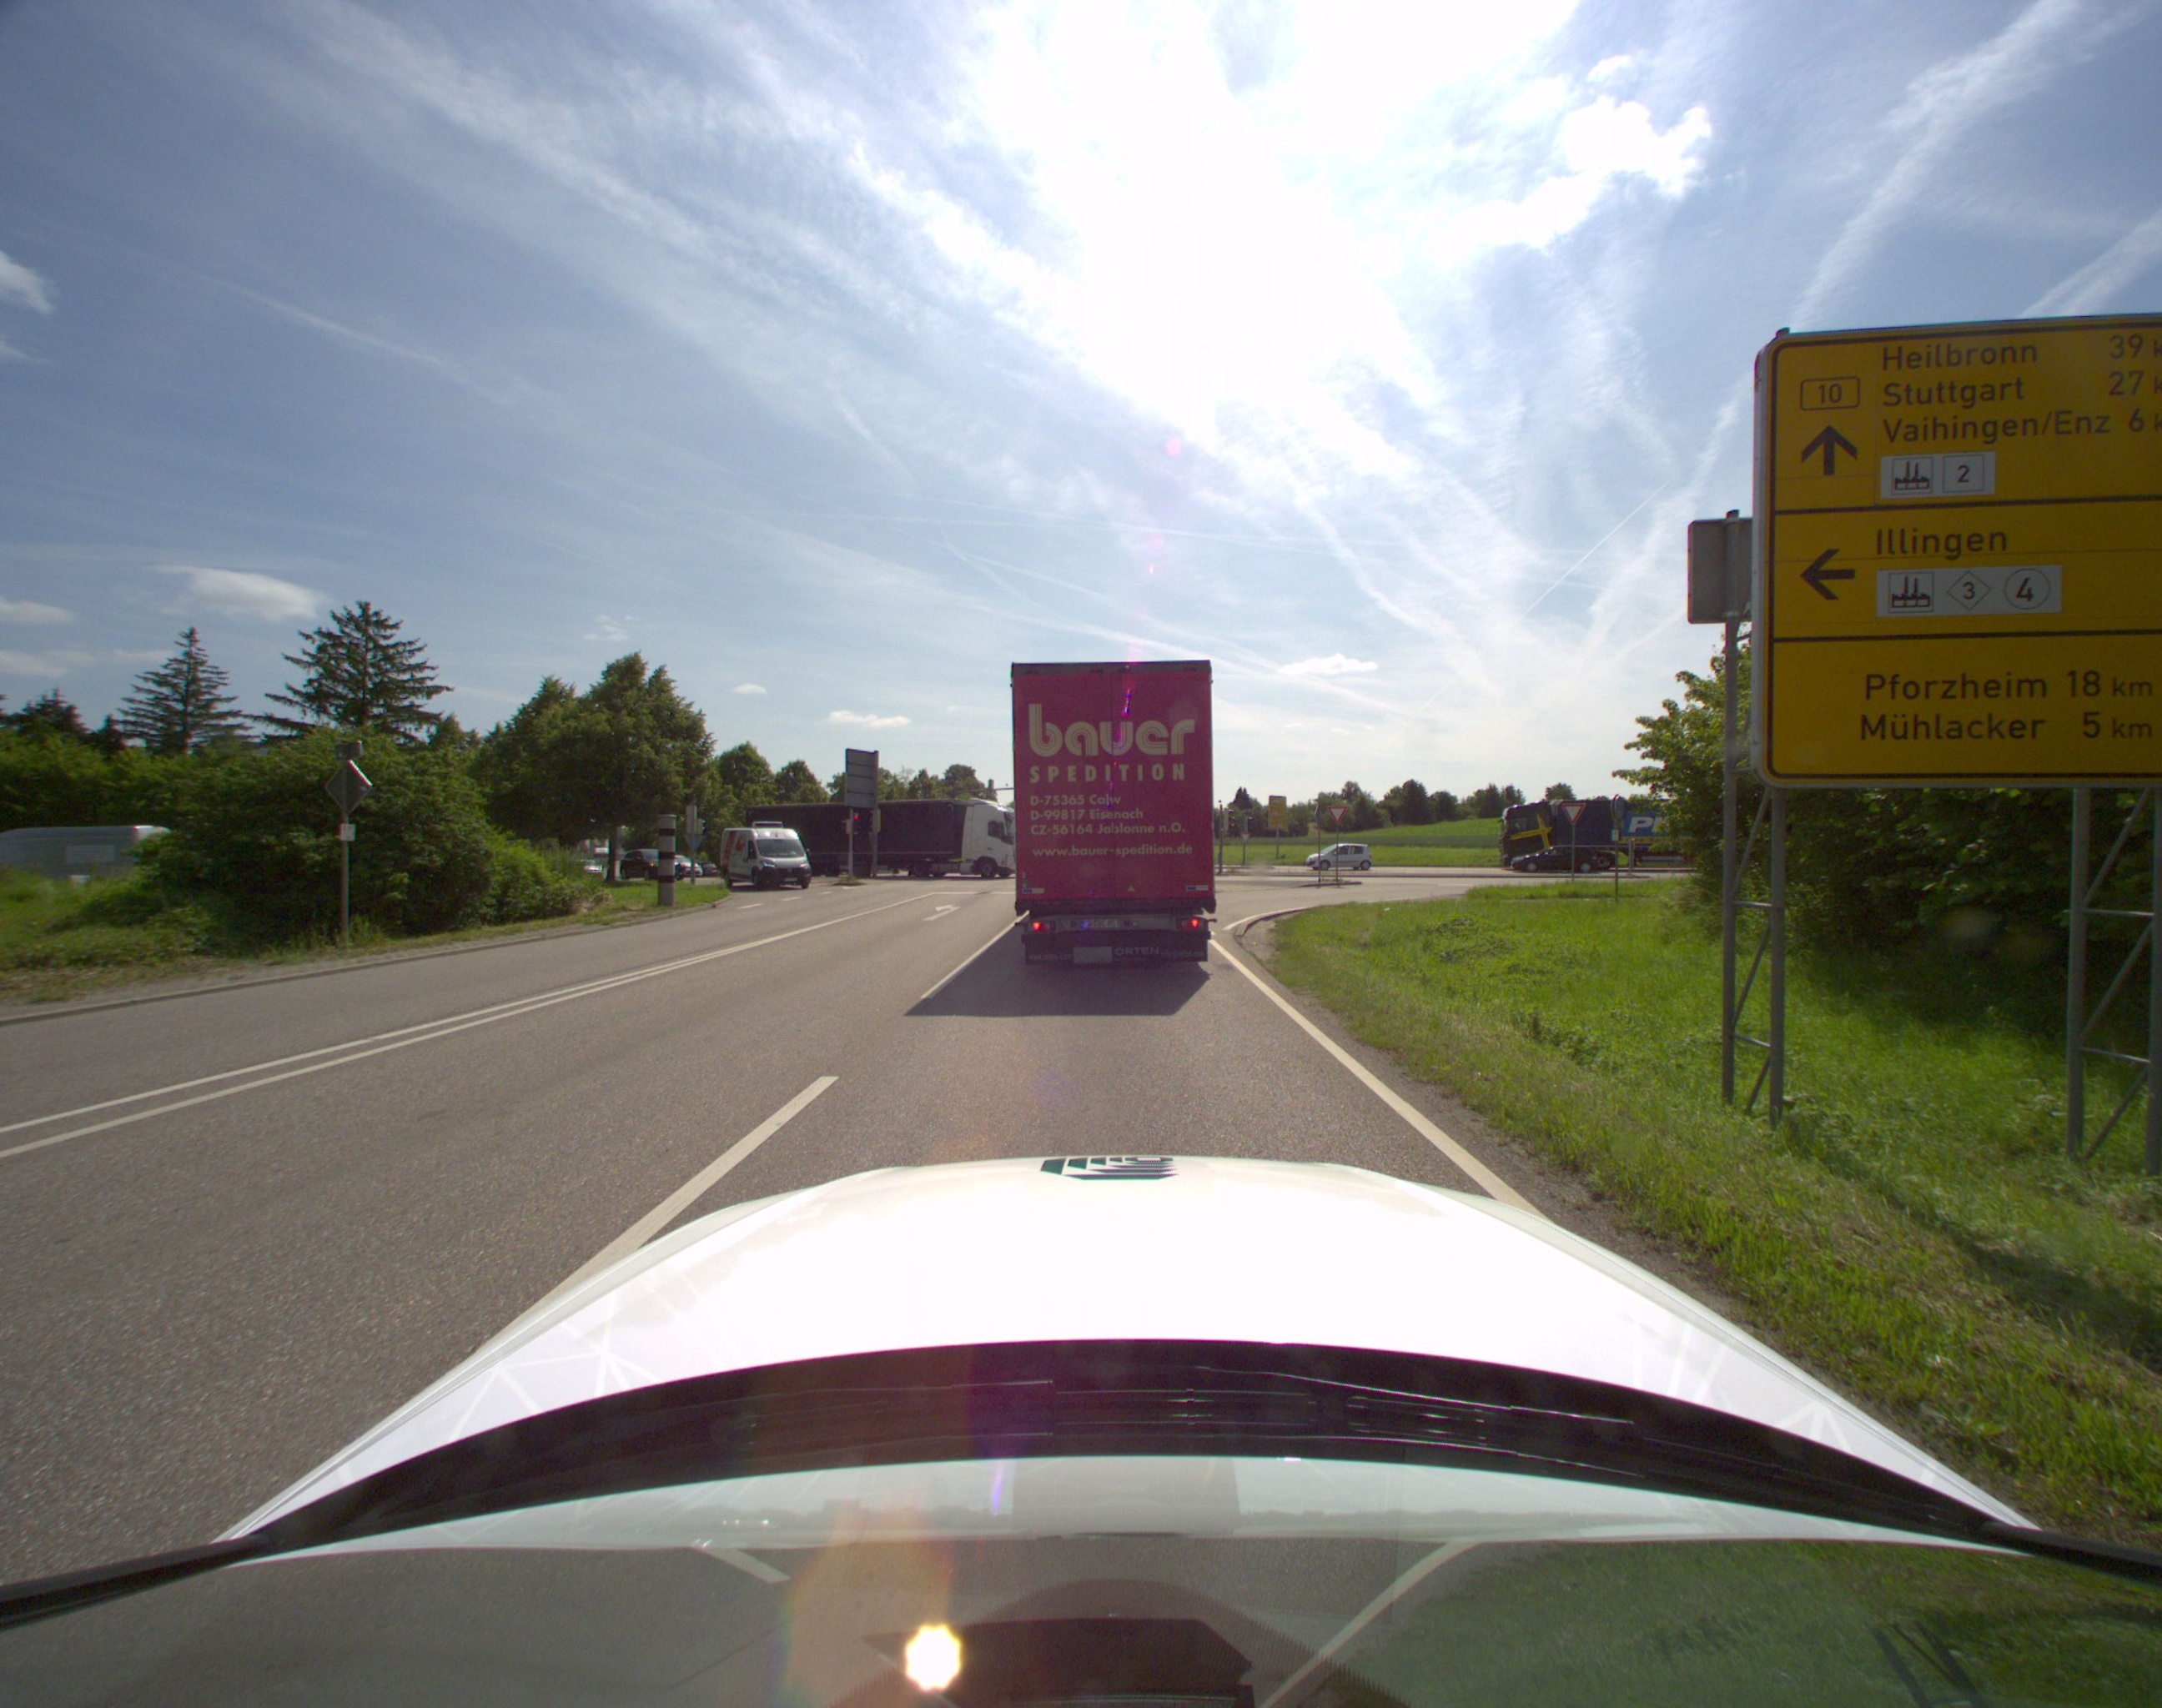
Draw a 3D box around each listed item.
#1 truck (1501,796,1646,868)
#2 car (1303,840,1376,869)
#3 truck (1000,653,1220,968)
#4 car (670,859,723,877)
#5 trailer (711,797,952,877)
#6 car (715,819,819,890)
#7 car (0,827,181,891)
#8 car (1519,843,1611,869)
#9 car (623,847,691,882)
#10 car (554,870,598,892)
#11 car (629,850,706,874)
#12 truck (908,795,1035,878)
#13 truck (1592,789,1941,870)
[{"bbox_3d":[28.540,-1.259,47.611,6.869,3.993,3.044,0,1,22],"label":"truck"},{"bbox_3d":[15.433,0.051,48.702,3.818,1.633,1.759,-1,-1,-3],"label":"car"},{"bbox_3d":[0.667,-0.611,18.565,2.724,3.925,16.634,-1,0,2],"label":"truck"},{"bbox_3d":[-31.714,1.163,67.185,3.949,1.429,2.012,0,-1,28],"label":"car"},{"bbox_3d":[-13.857,-0.891,44.808,13.571,4.061,2.812,0,1,19],"label":"trailer"},{"bbox_3d":[-12.982,-0.020,33.403,2.135,2.654,5.916,0,0,-40],"label":"car"},{"bbox_3d":[-35.569,0.172,28.782,4.600,2.180,1.986,0,0,-22],"label":"car"},{"bbox_3d":[25.257,0.120,42.634,3.952,1.310,1.776,-1,-1,23],"label":"car"},{"bbox_3d":[-22.242,0.561,42.647,4.058,1.750,1.884,-1,-1,42],"label":"car"},{"bbox_3d":[-36.400,1.903,58.669,3.997,1.416,1.806,1,2,44],"label":"car"},{"bbox_3d":[-25.239,0.473,49.741,4.211,1.461,1.819,0,0,20],"label":"car"},{"bbox_3d":[-5.610,-0.888,42.046,5.781,4.061,2.811,0,1,16],"label":"truck"},{"bbox_3d":[36.239,-1.251,44.164,14.152,3.979,3.045,0,1,25],"label":"truck"}]
